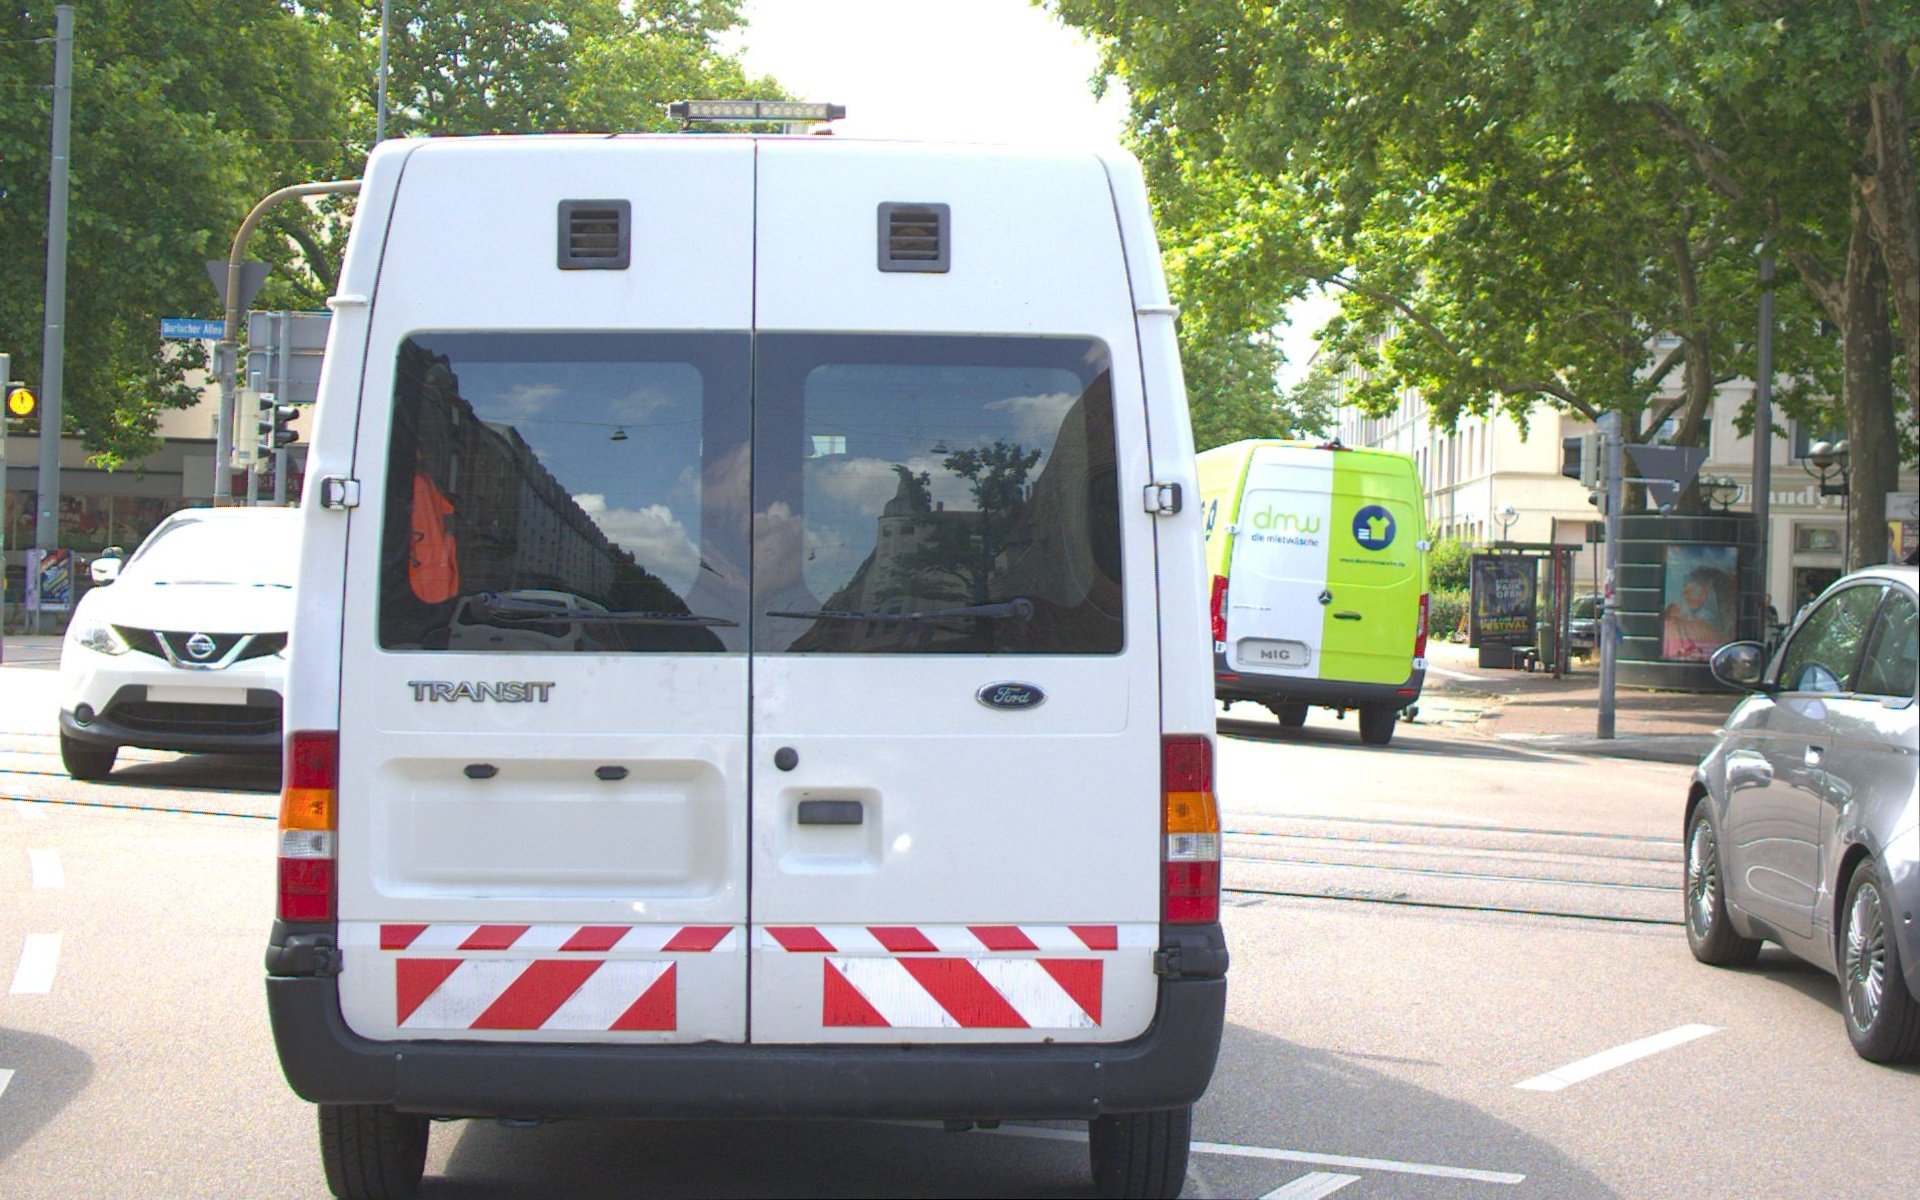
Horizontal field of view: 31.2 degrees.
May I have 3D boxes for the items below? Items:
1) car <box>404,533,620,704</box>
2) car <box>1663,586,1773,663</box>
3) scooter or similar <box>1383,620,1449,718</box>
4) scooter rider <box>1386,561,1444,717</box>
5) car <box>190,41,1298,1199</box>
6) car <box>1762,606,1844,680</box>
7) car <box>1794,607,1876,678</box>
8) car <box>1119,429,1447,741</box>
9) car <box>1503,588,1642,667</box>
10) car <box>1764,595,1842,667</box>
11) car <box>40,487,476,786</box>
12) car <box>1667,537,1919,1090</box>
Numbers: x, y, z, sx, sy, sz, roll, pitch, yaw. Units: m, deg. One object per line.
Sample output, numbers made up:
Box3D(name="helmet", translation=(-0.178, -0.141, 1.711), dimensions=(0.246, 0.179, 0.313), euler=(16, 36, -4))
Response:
Box3D(name="car", translation=(-4.269, 0.138, 33.223), dimensions=(1.747, 1.535, 3.932), euler=(0, 1, -3))
Box3D(name="car", translation=(18.717, 0.609, 84.750), dimensions=(1.907, 1.789, 4.715), euler=(2, 0, 21))
Box3D(name="scooter or similar", translation=(5.343, 0.799, 40.335), dimensions=(0.549, 1.088, 1.292), euler=(2, 1, -1))
Box3D(name="scooter rider", translation=(5.354, 0.452, 40.455), dimensions=(0.526, 1.806, 0.649), euler=(2, 1, -1))
Box3D(name="car", translation=(-0.558, 0.087, 8.920), dimensions=(2.047, 2.325, 4.715), euler=(2, 1, -4))
Box3D(name="car", translation=(16.743, 0.837, 68.227), dimensions=(1.466, 1.384, 3.065), euler=(2, 0, 15))
Box3D(name="car", translation=(18.348, 0.878, 72.045), dimensions=(1.466, 1.384, 3.233), euler=(2, 0, 17))
Box3D(name="car", translation=(2.939, -0.178, 32.876), dimensions=(2.119, 2.632, 6.329), euler=(2, 1, -3))
Box3D(name="car", translation=(13.301, 0.592, 74.412), dimensions=(2.030, 1.595, 4.533), euler=(2, 0, 22))
Box3D(name="car", translation=(20.422, 0.753, 83.241), dimensions=(1.467, 1.660, 3.064), euler=(2, 0, 20))
Box3D(name="car", translation=(-4.062, 0.146, 20.508), dimensions=(1.770, 1.577, 4.021), euler=(1, 1, 0))
Box3D(name="car", translation=(3.494, 0.589, 11.264), dimensions=(1.692, 1.532, 3.468), euler=(2, 1, 2))
